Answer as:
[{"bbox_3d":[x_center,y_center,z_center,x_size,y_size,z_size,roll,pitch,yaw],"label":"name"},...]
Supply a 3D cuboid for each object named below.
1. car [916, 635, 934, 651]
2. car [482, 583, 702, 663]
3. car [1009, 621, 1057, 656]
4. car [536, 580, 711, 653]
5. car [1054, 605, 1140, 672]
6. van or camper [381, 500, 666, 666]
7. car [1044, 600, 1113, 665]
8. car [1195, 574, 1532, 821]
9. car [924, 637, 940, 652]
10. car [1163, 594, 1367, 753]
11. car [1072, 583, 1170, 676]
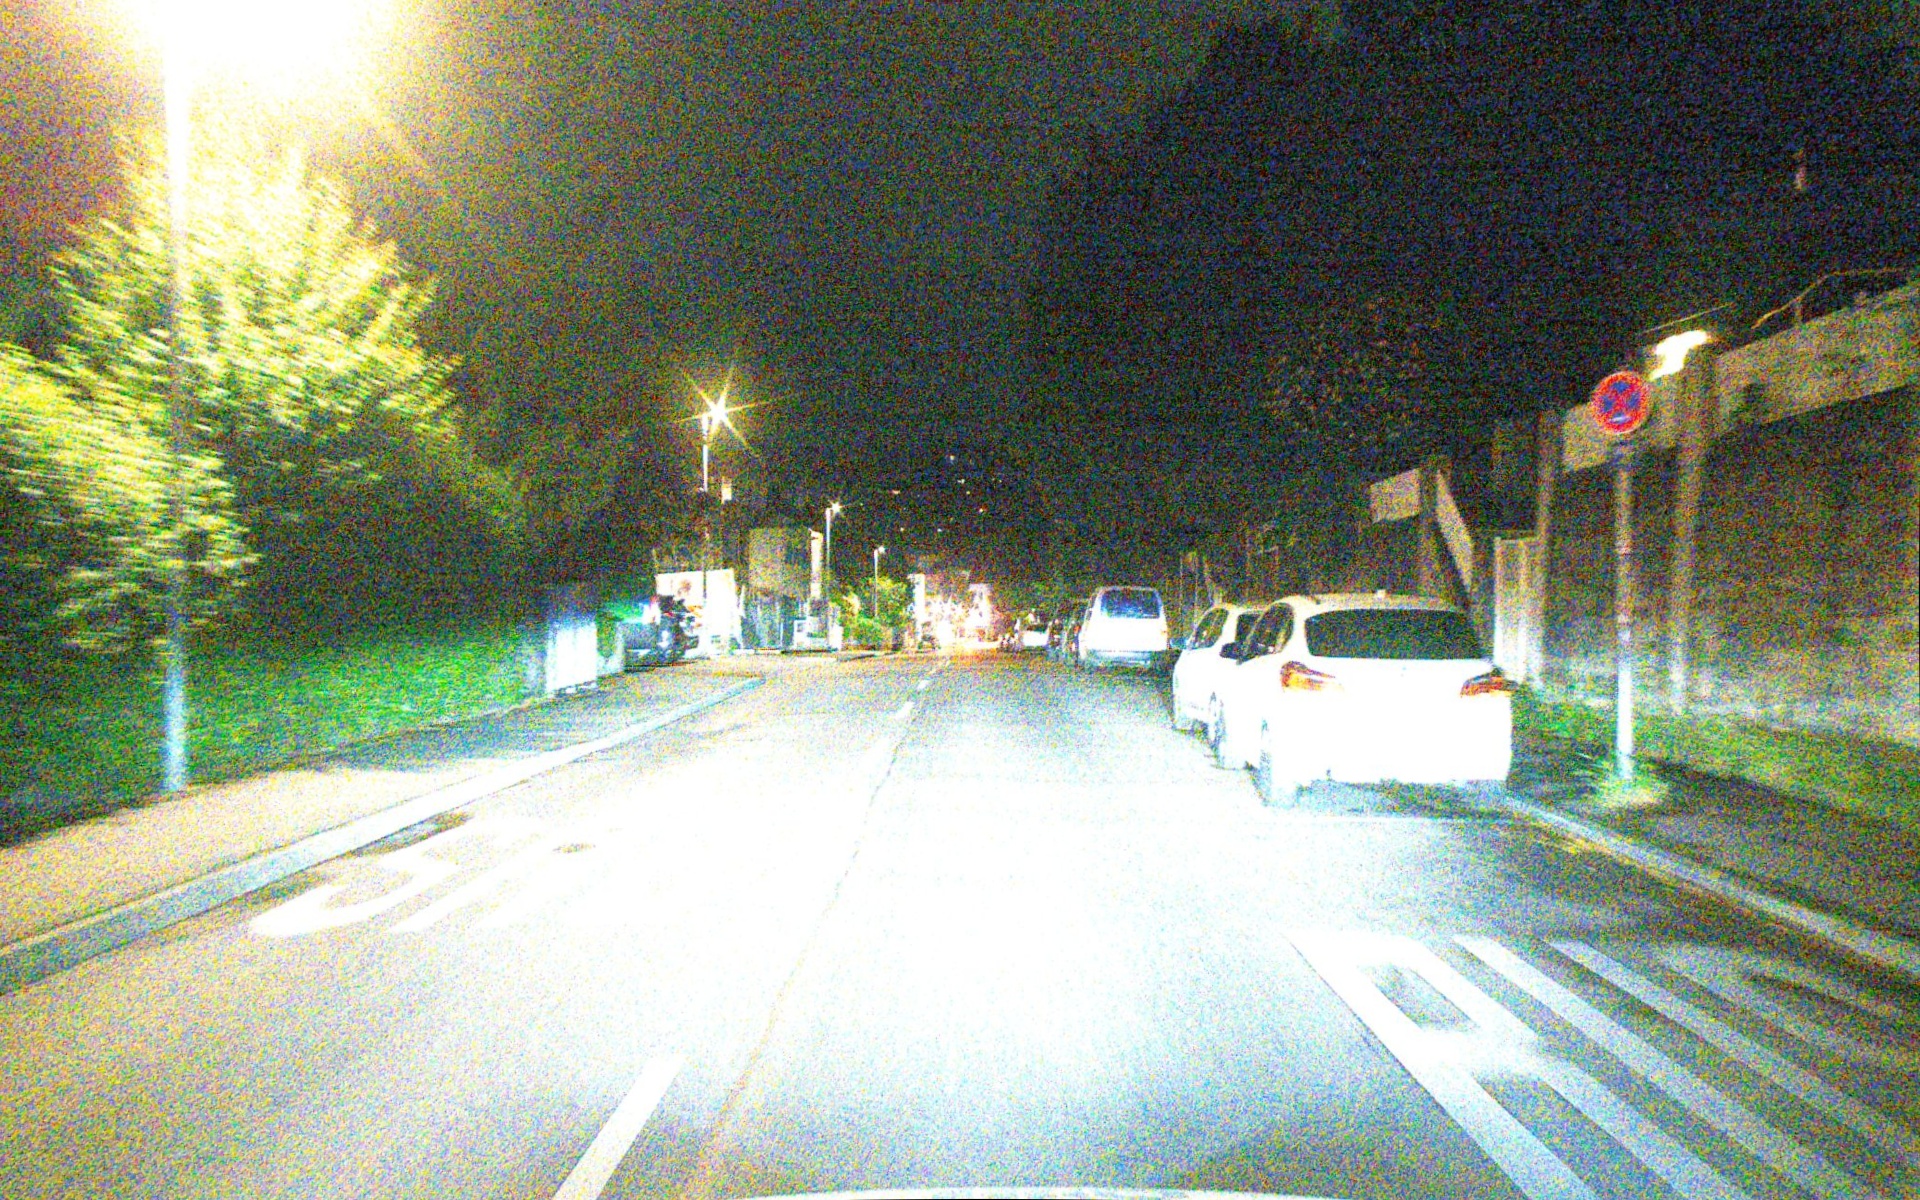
[{"bbox_3d":[-3.551,4.349,166.030,1.718,1.567,3.728,1,-2,-3],"label":"car"},{"bbox_3d":[-8.104,0.528,36.716,4.325,1.642,2.065,1,-2,1],"label":"car"},{"bbox_3d":[3.322,1.778,76.141,1.728,1.501,4.272,3,-2,-3],"label":"car"},{"bbox_3d":[-7.999,0.387,39.548,3.733,1.582,1.927,2,0,0],"label":"car"},{"bbox_3d":[3.343,0.935,40.994,1.708,1.496,4.256,3,-1,0],"label":"car"},{"bbox_3d":[-8.575,-0.325,32.990,5.299,3.165,2.128,0,0,-9],"label":"van or camper"},{"bbox_3d":[3.288,0.943,46.619,1.794,1.693,4.619,2,-2,3],"label":"car"},{"bbox_3d":[3.103,0.671,13.721,1.719,1.621,4.729,2,0,2],"label":"car"},{"bbox_3d":[-3.076,4.919,183.139,1.717,1.567,3.729,1,-2,-1],"label":"car"},{"bbox_3d":[3.248,0.724,18.229,1.576,1.487,3.717,-1,1,0],"label":"car"},{"bbox_3d":[3.391,0.616,35.505,1.683,1.792,4.758,2,-1,1],"label":"car"}]
